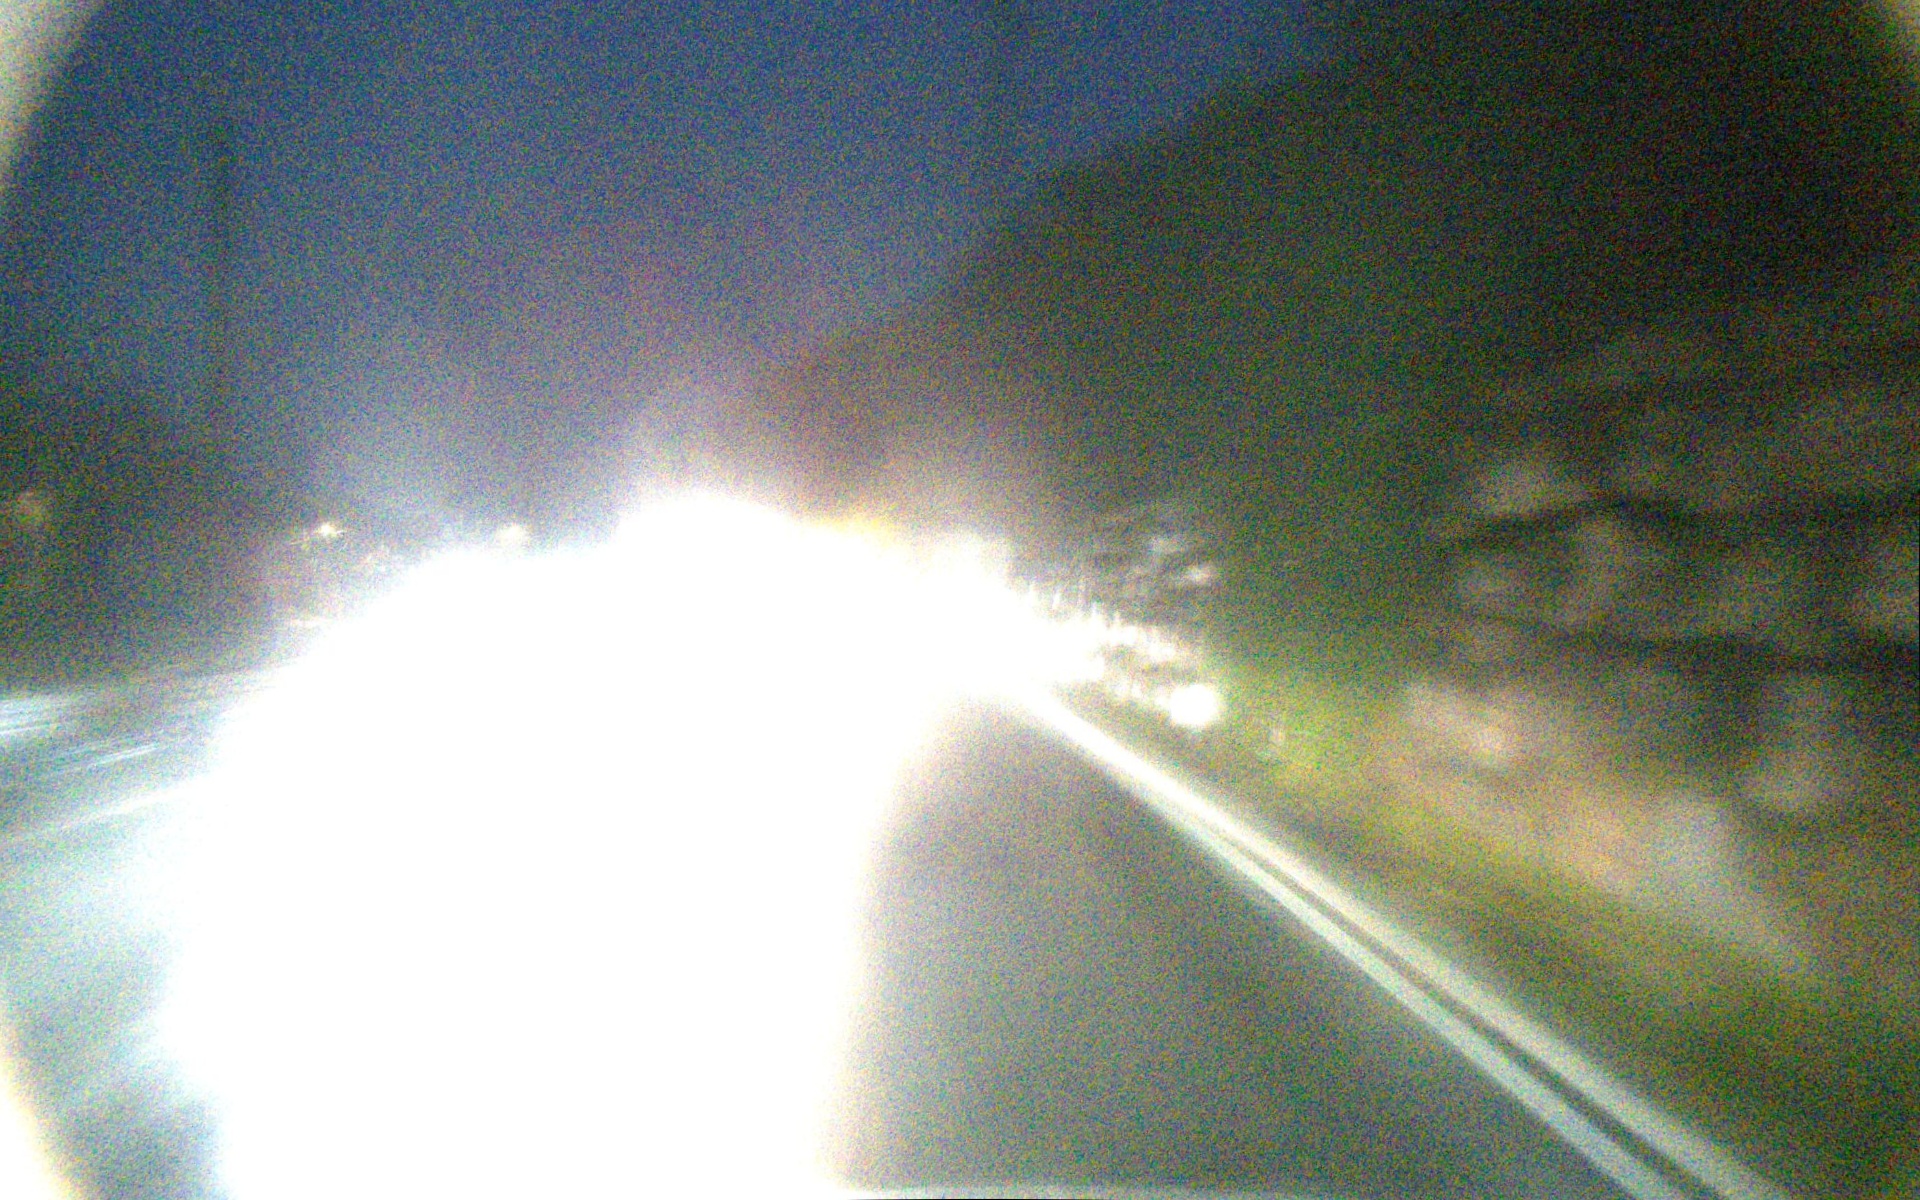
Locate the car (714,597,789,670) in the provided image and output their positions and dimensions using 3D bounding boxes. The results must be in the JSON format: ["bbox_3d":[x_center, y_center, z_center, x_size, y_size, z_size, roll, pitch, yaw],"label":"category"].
[{"bbox_3d":[-5.503,0.846,44.043,1.753,1.651,4.374,0,3,-4],"label":"car"}]

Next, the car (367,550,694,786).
[{"bbox_3d":[-3.740,0.540,15.289,1.953,1.837,4.594,1,0,-2],"label":"car"}]
